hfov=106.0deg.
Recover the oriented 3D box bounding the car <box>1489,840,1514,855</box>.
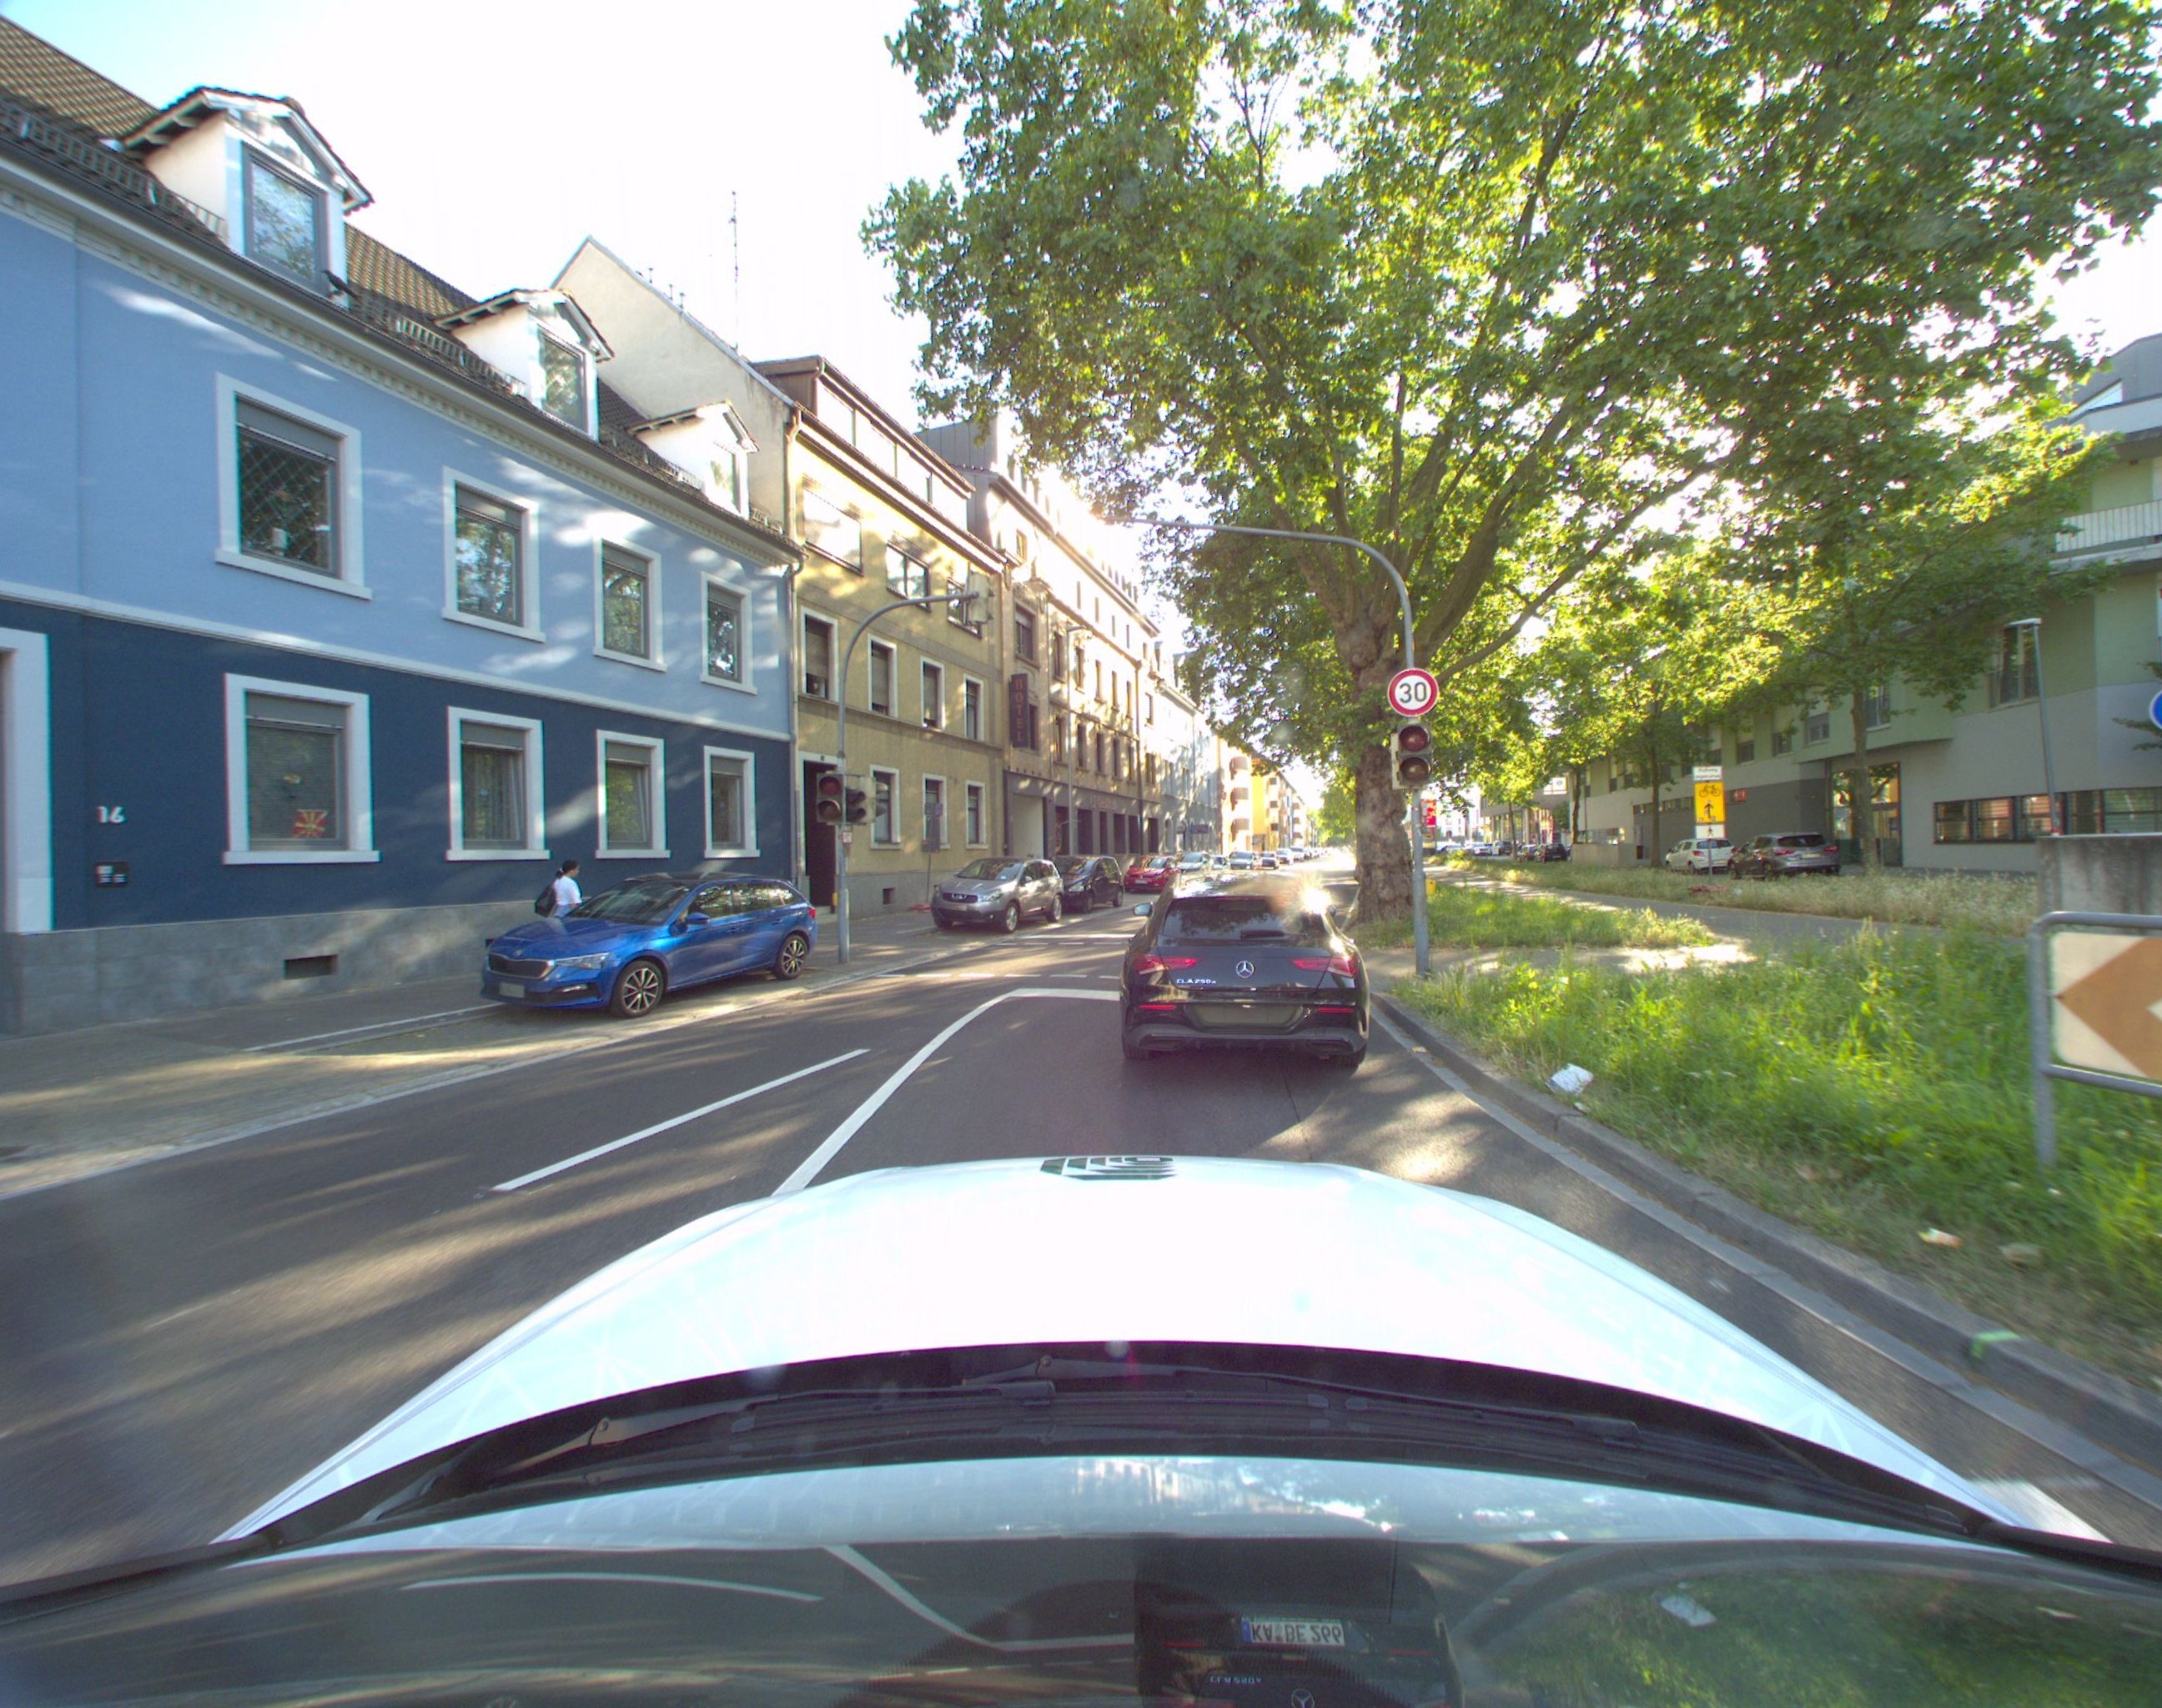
[{"bbox_3d":[50.999,-0.837,98.899,1.970,1.733,4.199,-2,0,17],"label":"car"}]

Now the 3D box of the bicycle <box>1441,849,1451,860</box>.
[{"bbox_3d":[35.193,0.021,78.530,0.381,1.003,1.487,-2,0,3],"label":"bicycle"}]

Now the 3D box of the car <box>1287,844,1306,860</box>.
[{"bbox_3d":[26.579,-0.215,100.190,1.719,1.907,5.235,0,0,20],"label":"car"}]

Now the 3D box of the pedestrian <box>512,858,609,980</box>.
[{"bbox_3d":[-7.117,0.854,11.150,0.697,1.570,0.871,-2,0,34],"label":"pedestrian"}]

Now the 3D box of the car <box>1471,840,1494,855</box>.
[{"bbox_3d":[49.101,-0.798,99.680,1.861,1.733,4.198,-2,0,16],"label":"car"}]

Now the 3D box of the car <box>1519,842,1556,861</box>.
[{"bbox_3d":[37.705,-0.224,67.343,1.844,1.468,4.142,-2,0,17],"label":"car"}]

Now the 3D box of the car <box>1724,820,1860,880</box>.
[{"bbox_3d":[23.322,-0.141,26.933,1.889,1.771,4.341,-2,0,19],"label":"car"}]

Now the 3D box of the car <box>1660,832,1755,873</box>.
[{"bbox_3d":[26.002,-0.085,33.992,1.844,1.543,4.341,-2,0,19],"label":"car"}]

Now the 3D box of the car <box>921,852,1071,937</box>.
[{"bbox_3d":[-1.808,0.821,18.741,1.766,1.672,4.177,0,1,20],"label":"car"}]

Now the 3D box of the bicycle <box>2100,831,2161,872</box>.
[{"bbox_3d":[27.257,-0.065,20.647,1.659,1.018,0.592,-2,0,38],"label":"bicycle"}]

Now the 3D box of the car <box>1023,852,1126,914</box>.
[{"bbox_3d":[-0.088,0.760,23.563,1.663,1.605,3.725,0,1,22],"label":"car"}]

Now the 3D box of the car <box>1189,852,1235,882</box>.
[{"bbox_3d":[6.969,0.646,43.139,1.664,1.496,3.891,0,1,20],"label":"car"}]

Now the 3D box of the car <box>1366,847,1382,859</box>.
[{"bbox_3d":[36.405,-0.129,101.225,1.622,1.468,4.039,-3,-1,17],"label":"car"}]

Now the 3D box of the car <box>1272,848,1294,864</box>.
[{"bbox_3d":[20.087,0.208,80.713,1.664,1.523,4.041,0,1,20],"label":"car"}]

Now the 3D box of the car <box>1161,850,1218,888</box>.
[{"bbox_3d":[4.998,0.617,37.074,1.664,1.584,4.221,0,1,20],"label":"car"}]

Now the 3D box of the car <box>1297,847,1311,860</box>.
[{"bbox_3d":[30.820,-0.108,112.642,1.731,1.787,4.570,0,1,17],"label":"car"}]

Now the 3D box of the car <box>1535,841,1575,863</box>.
[{"bbox_3d":[35.357,-0.194,60.849,1.844,1.552,3.778,-2,0,19],"label":"car"}]

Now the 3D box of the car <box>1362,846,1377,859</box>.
[{"bbox_3d":[38.186,-0.200,107.890,1.795,1.538,4.606,-4,0,19],"label":"car"}]

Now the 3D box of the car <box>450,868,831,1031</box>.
[{"bbox_3d":[-5.185,0.988,10.356,1.637,1.486,4.283,0,1,18],"label":"car"}]

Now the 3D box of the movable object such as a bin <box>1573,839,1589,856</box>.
[{"bbox_3d":[43.625,-0.560,71.078,1.181,1.463,1.416,-2,0,30],"label":"movable object such as a bin"}]

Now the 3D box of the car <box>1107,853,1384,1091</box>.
[{"bbox_3d":[1.327,0.740,7.184,1.734,1.443,3.978,0,1,8],"label":"car"}]

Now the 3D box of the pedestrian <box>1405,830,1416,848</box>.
[{"bbox_3d":[32.963,-1.514,81.413,0.763,1.761,0.665,-3,-1,8],"label":"pedestrian"}]

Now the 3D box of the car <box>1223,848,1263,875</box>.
[{"bbox_3d":[10.607,0.456,53.130,1.892,1.641,4.600,0,1,20],"label":"car"}]

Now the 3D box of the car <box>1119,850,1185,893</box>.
[{"bbox_3d":[2.911,0.656,32.662,1.664,1.592,3.775,0,1,20],"label":"car"}]

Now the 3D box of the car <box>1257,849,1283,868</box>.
[{"bbox_3d":[15.858,0.376,68.235,1.664,1.486,3.619,0,1,20],"label":"car"}]
